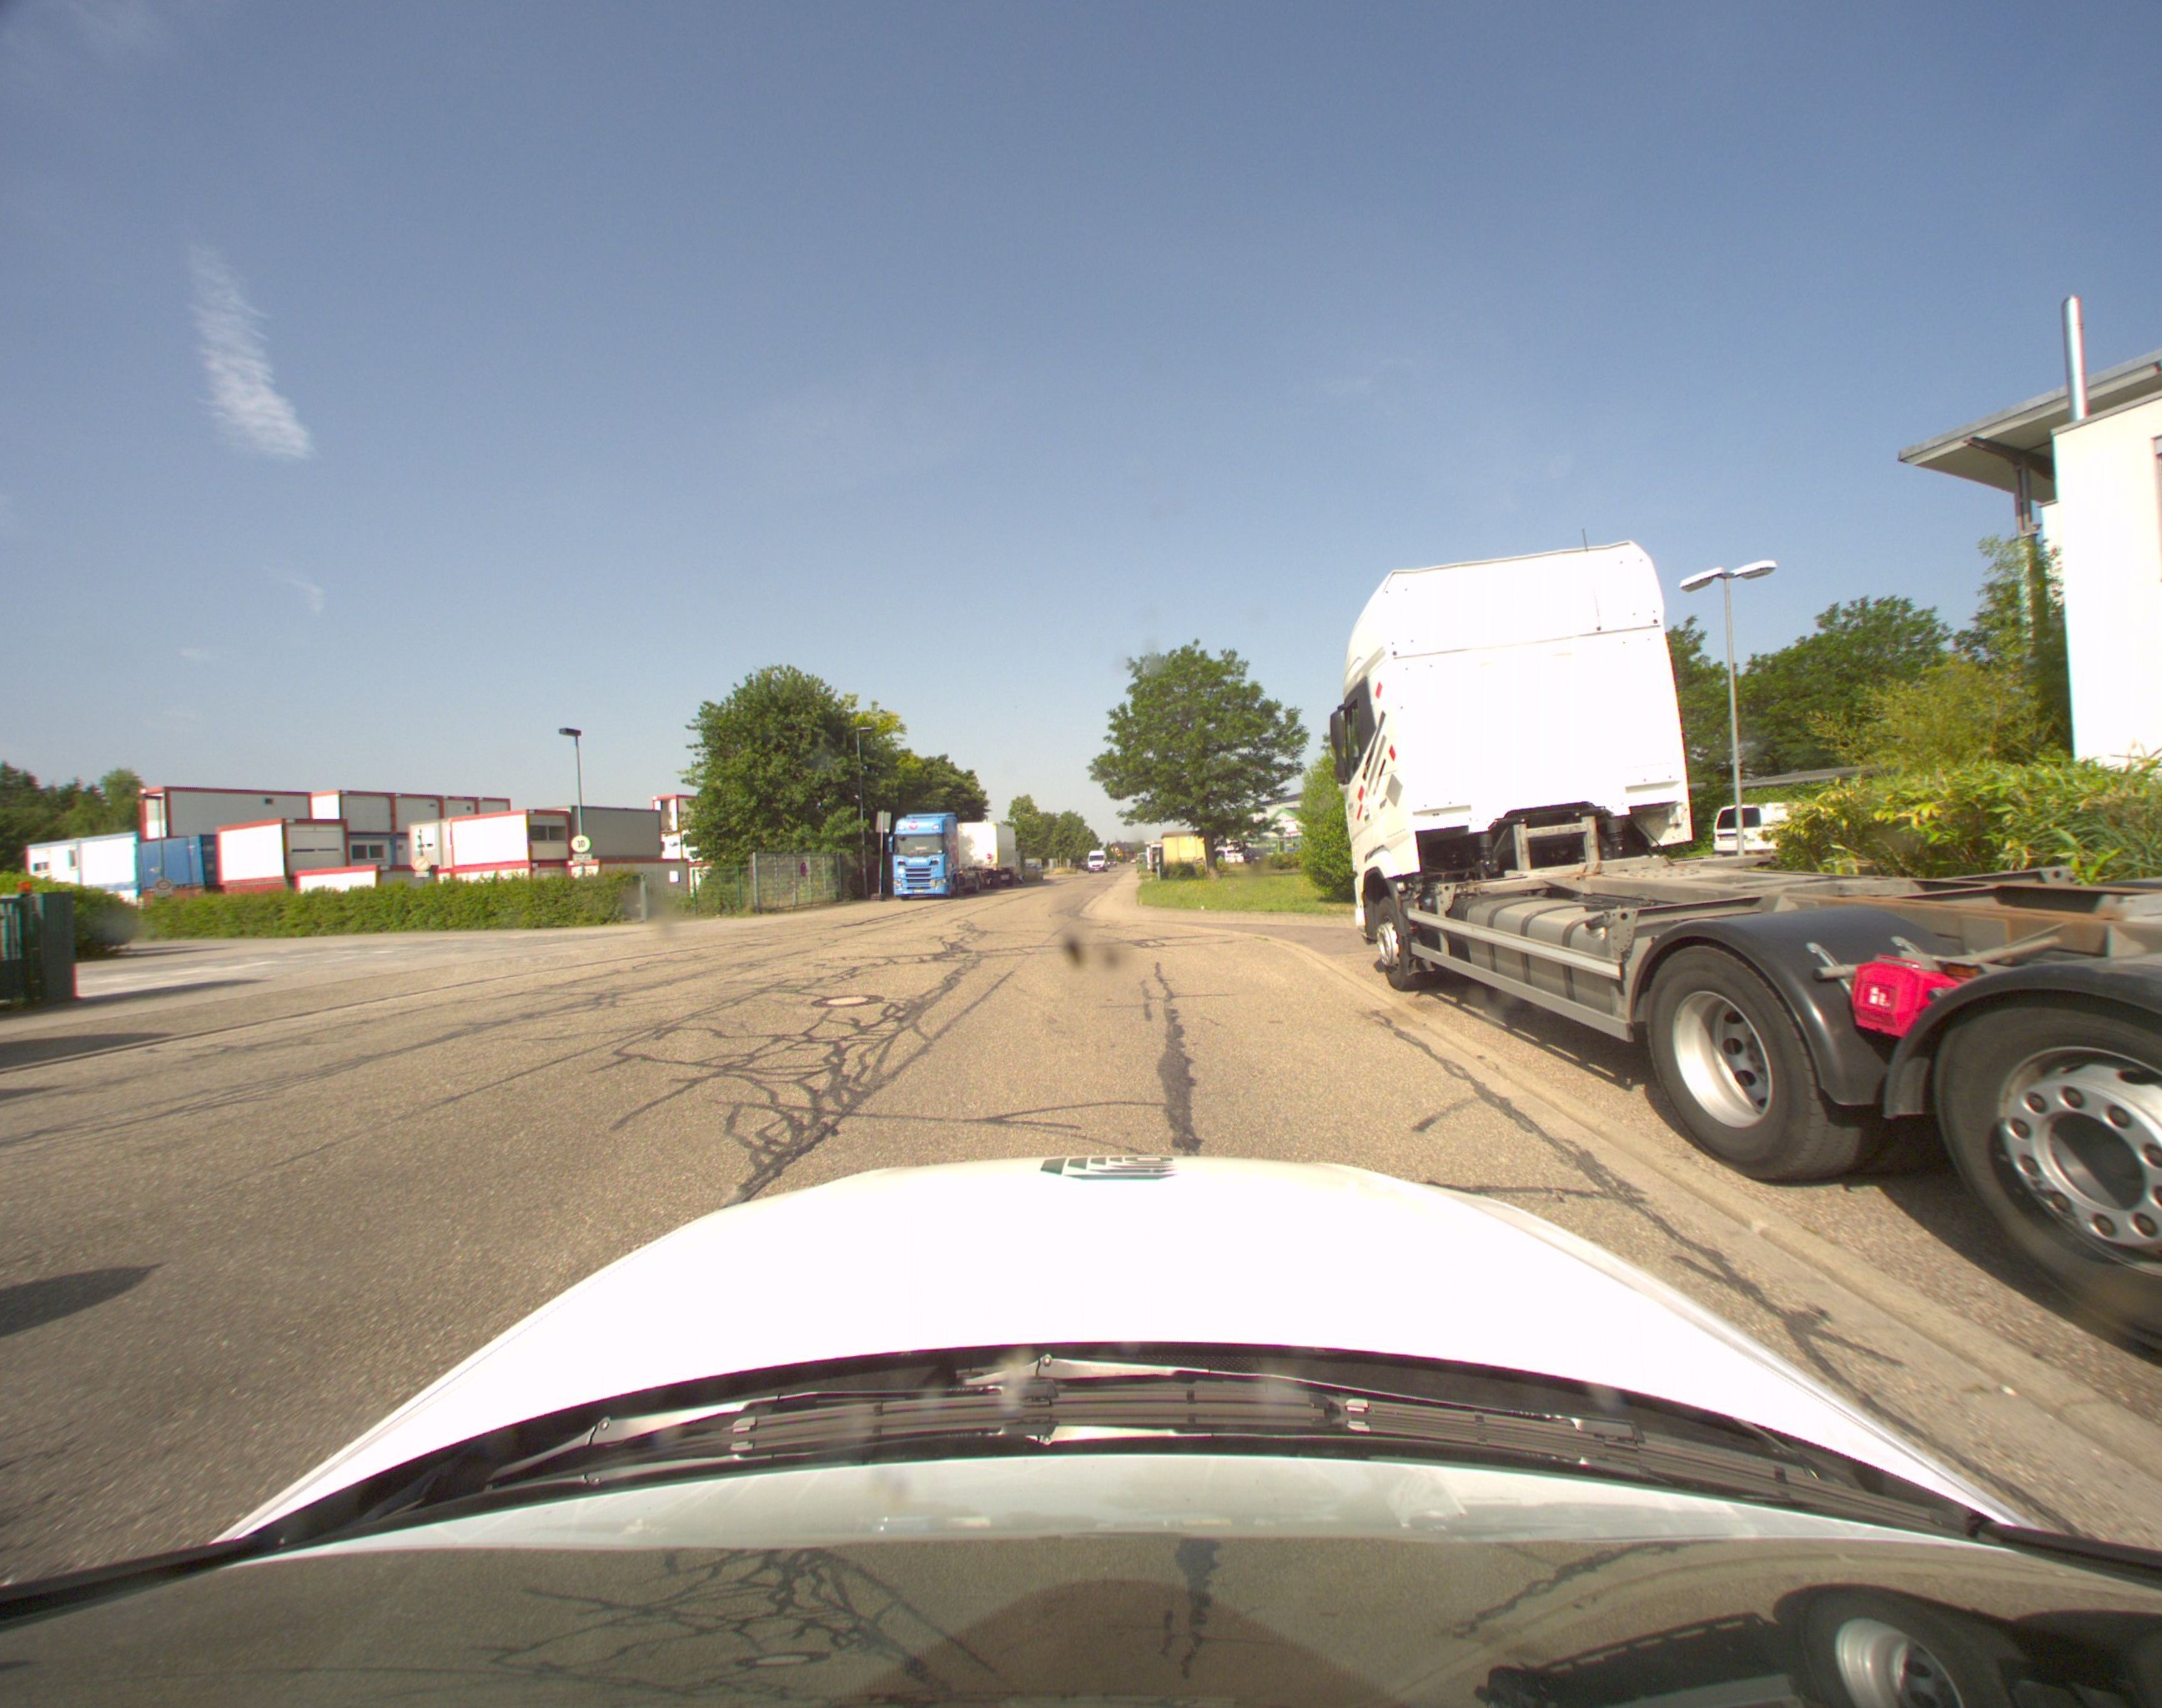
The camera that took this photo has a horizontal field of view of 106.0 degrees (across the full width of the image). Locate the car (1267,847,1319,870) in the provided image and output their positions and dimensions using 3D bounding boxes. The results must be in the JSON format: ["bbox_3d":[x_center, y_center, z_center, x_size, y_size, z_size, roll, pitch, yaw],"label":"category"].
[{"bbox_3d":[13.421,0.321,51.732,1.750,1.373,3.648,-1,-1,-12],"label":"car"}]

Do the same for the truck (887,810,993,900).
[{"bbox_3d":[-6.618,0.132,39.890,2.813,3.826,9.682,-1,-1,4],"label":"truck"}]

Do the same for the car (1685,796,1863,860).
[{"bbox_3d":[20.044,-0.737,23.611,3.989,1.706,1.818,-1,-1,-11],"label":"car"}]

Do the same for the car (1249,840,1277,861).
[{"bbox_3d":[15.648,-0.283,70.054,1.783,1.640,4.005,-1,-1,5],"label":"car"}]

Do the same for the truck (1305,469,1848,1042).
[{"bbox_3d":[4.178,-0.703,8.028,2.734,3.981,4.005,-6,-1,4],"label":"truck"}]

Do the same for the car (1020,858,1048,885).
[{"bbox_3d":[-3.833,1.424,65.649,1.991,2.013,3.992,-3,-1,-6],"label":"car"}]

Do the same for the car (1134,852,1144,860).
[{"bbox_3d":[12.924,0.442,181.652,1.768,1.815,3.992,-1,-1,-5],"label":"car"}]

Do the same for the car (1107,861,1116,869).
[{"bbox_3d":[6.457,2.460,175.009,1.635,1.662,3.997,-1,-1,-2],"label":"car"}]

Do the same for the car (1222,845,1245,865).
[{"bbox_3d":[13.232,0.117,70.618,1.708,1.618,4.008,-1,-1,7],"label":"car"}]

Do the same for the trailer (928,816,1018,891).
[{"bbox_3d":[-6.038,0.090,48.131,2.818,3.843,12.048,-1,-1,4],"label":"trailer"}]

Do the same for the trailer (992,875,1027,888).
[{"bbox_3d":[-5.027,1.928,57.840,1.888,0.760,4.003,-3,0,3],"label":"trailer"}]

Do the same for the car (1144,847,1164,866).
[{"bbox_3d":[7.103,0.310,79.687,1.784,1.750,4.003,-1,-1,3],"label":"car"}]

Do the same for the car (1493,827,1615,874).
[{"bbox_3d":[18.221,-0.122,31.406,4.084,1.701,1.755,-1,-2,-17],"label":"car"}]

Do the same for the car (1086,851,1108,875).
[{"bbox_3d":[1.821,1.071,95.553,2.209,2.686,6.847,-1,-1,-2],"label":"car"}]

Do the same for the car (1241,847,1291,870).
[{"bbox_3d":[11.634,0.287,51.397,1.669,1.330,3.648,-1,-1,-12],"label":"car"}]
